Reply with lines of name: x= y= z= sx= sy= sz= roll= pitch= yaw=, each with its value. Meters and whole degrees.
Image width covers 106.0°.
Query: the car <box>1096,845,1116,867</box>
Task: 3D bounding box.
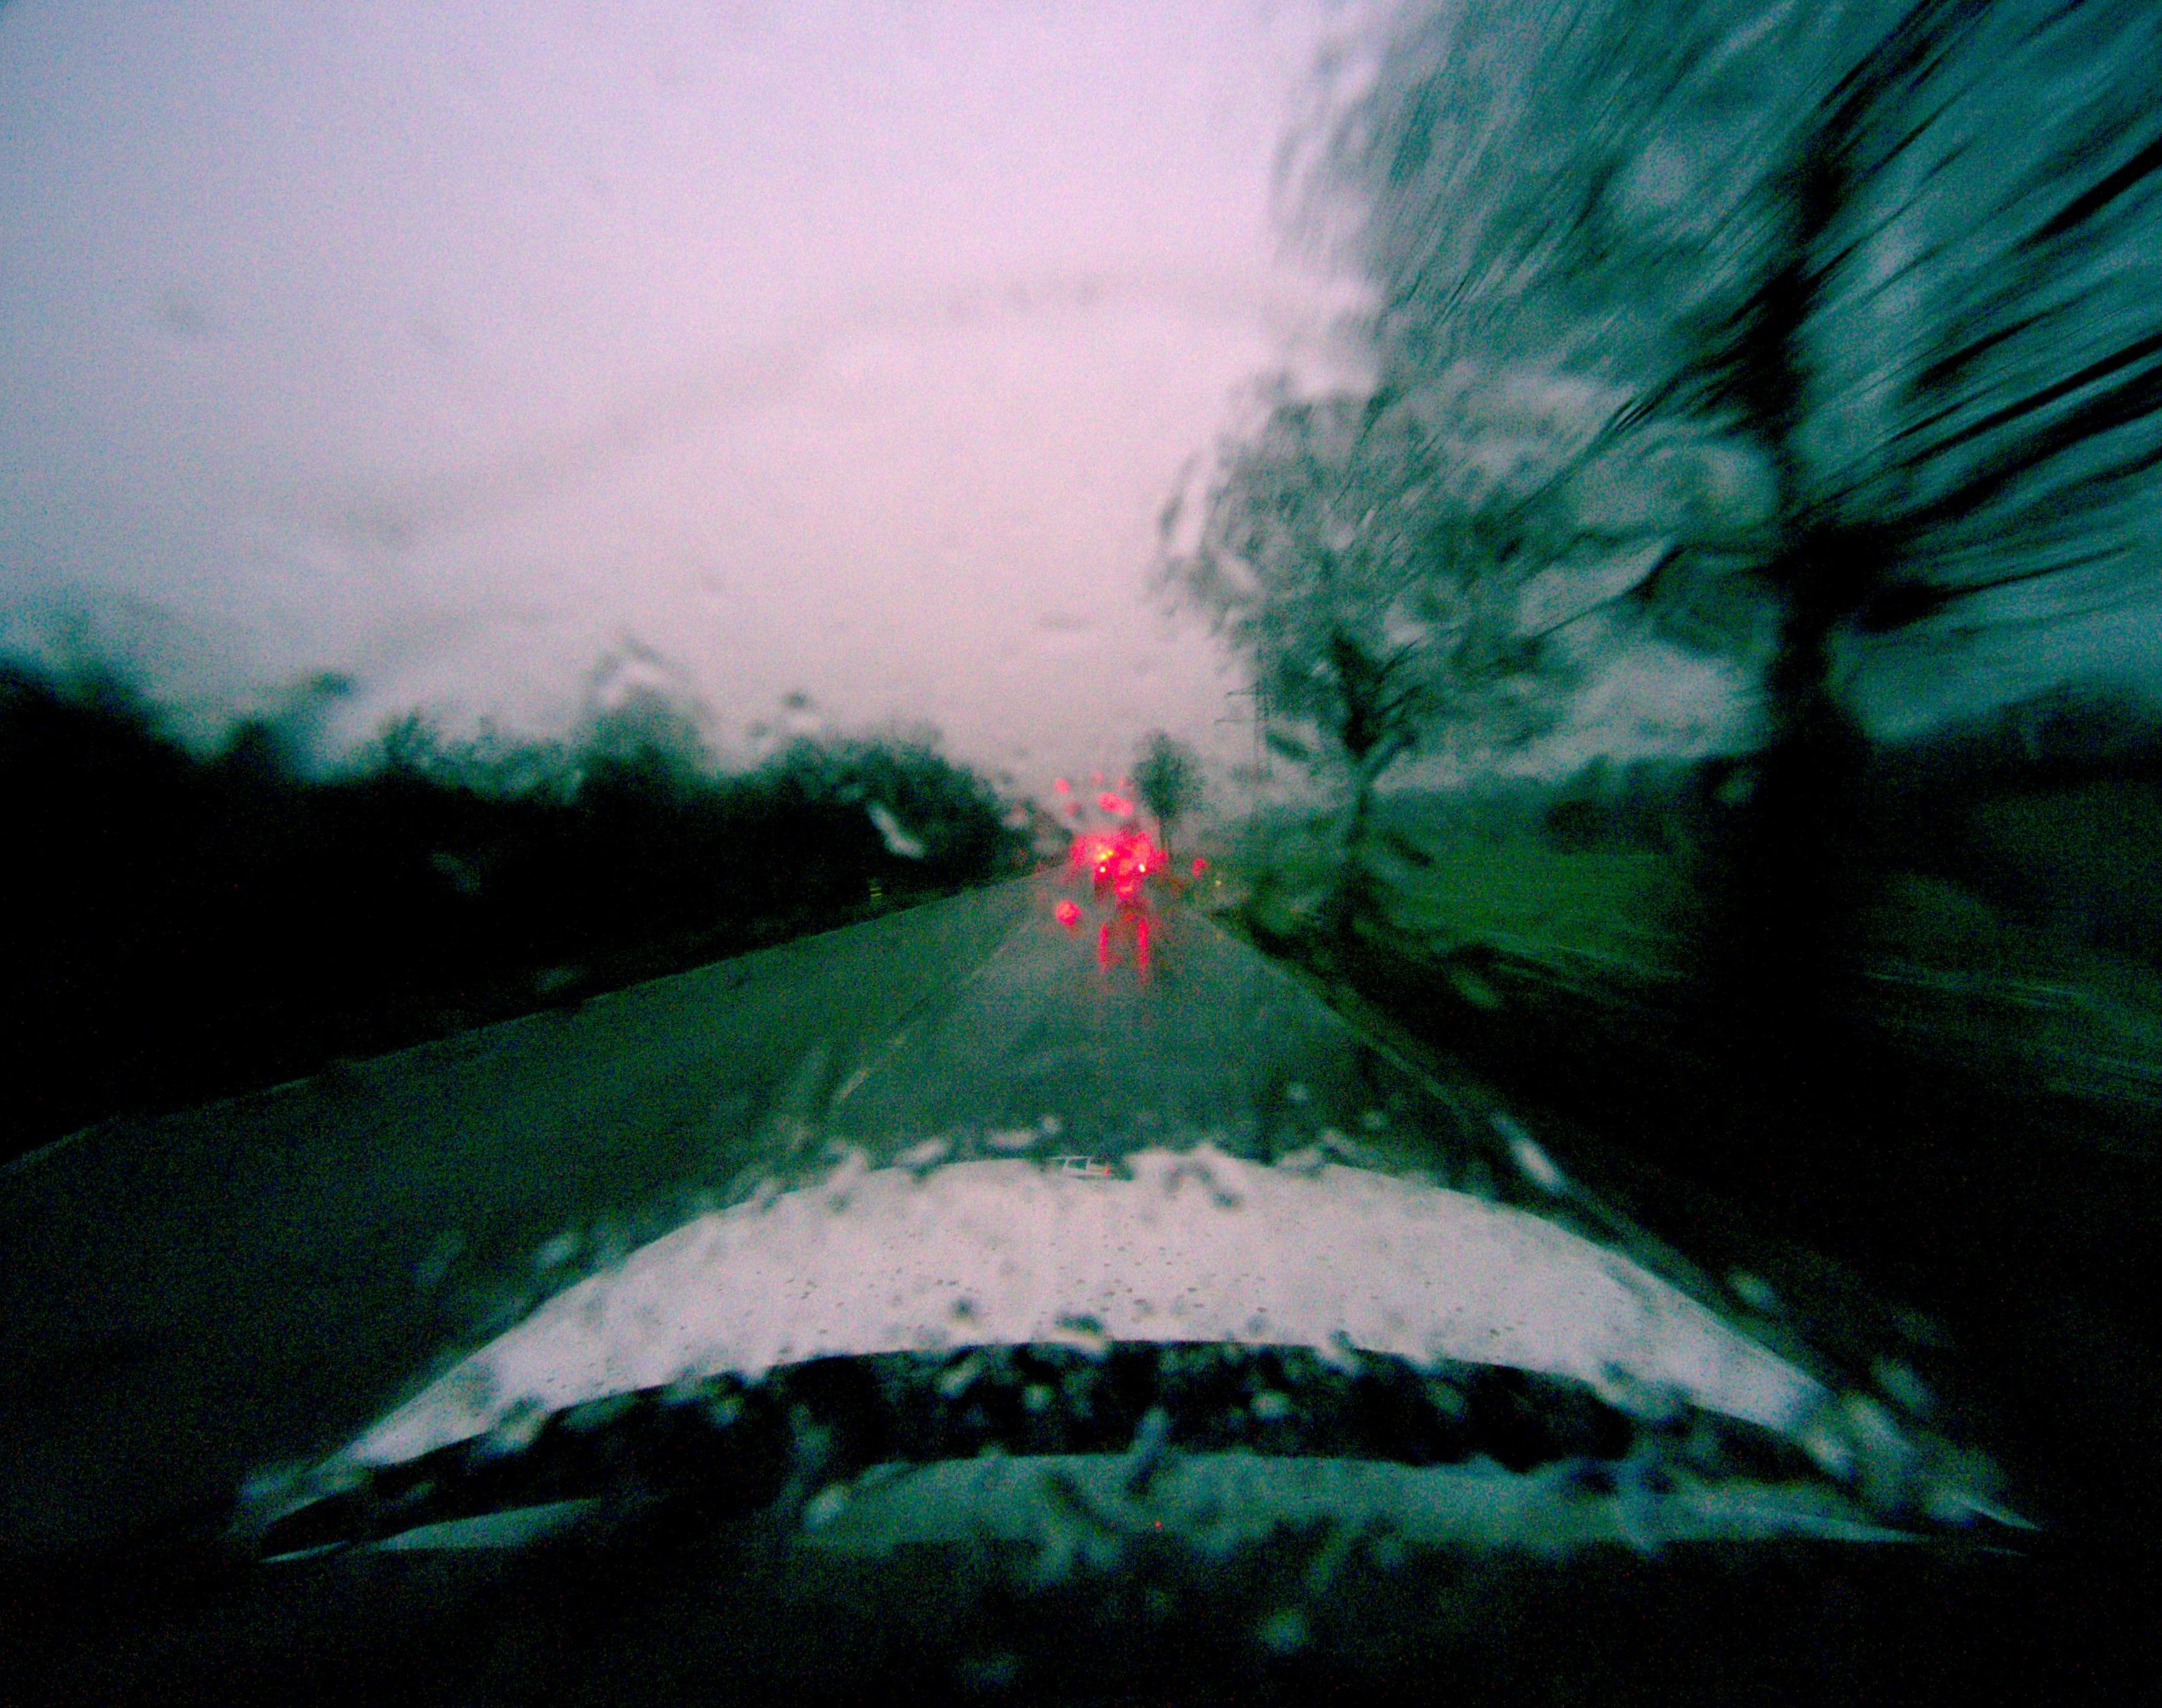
car: x=2.602 y=0.190 z=83.849 sx=1.985 sy=2.013 sz=4.005 roll=2 pitch=3 yaw=3

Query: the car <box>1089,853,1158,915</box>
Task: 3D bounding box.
car: x=1.320 y=0.882 z=26.072 sx=1.986 sy=1.752 sz=4.002 roll=-1 pitch=0 yaw=2
